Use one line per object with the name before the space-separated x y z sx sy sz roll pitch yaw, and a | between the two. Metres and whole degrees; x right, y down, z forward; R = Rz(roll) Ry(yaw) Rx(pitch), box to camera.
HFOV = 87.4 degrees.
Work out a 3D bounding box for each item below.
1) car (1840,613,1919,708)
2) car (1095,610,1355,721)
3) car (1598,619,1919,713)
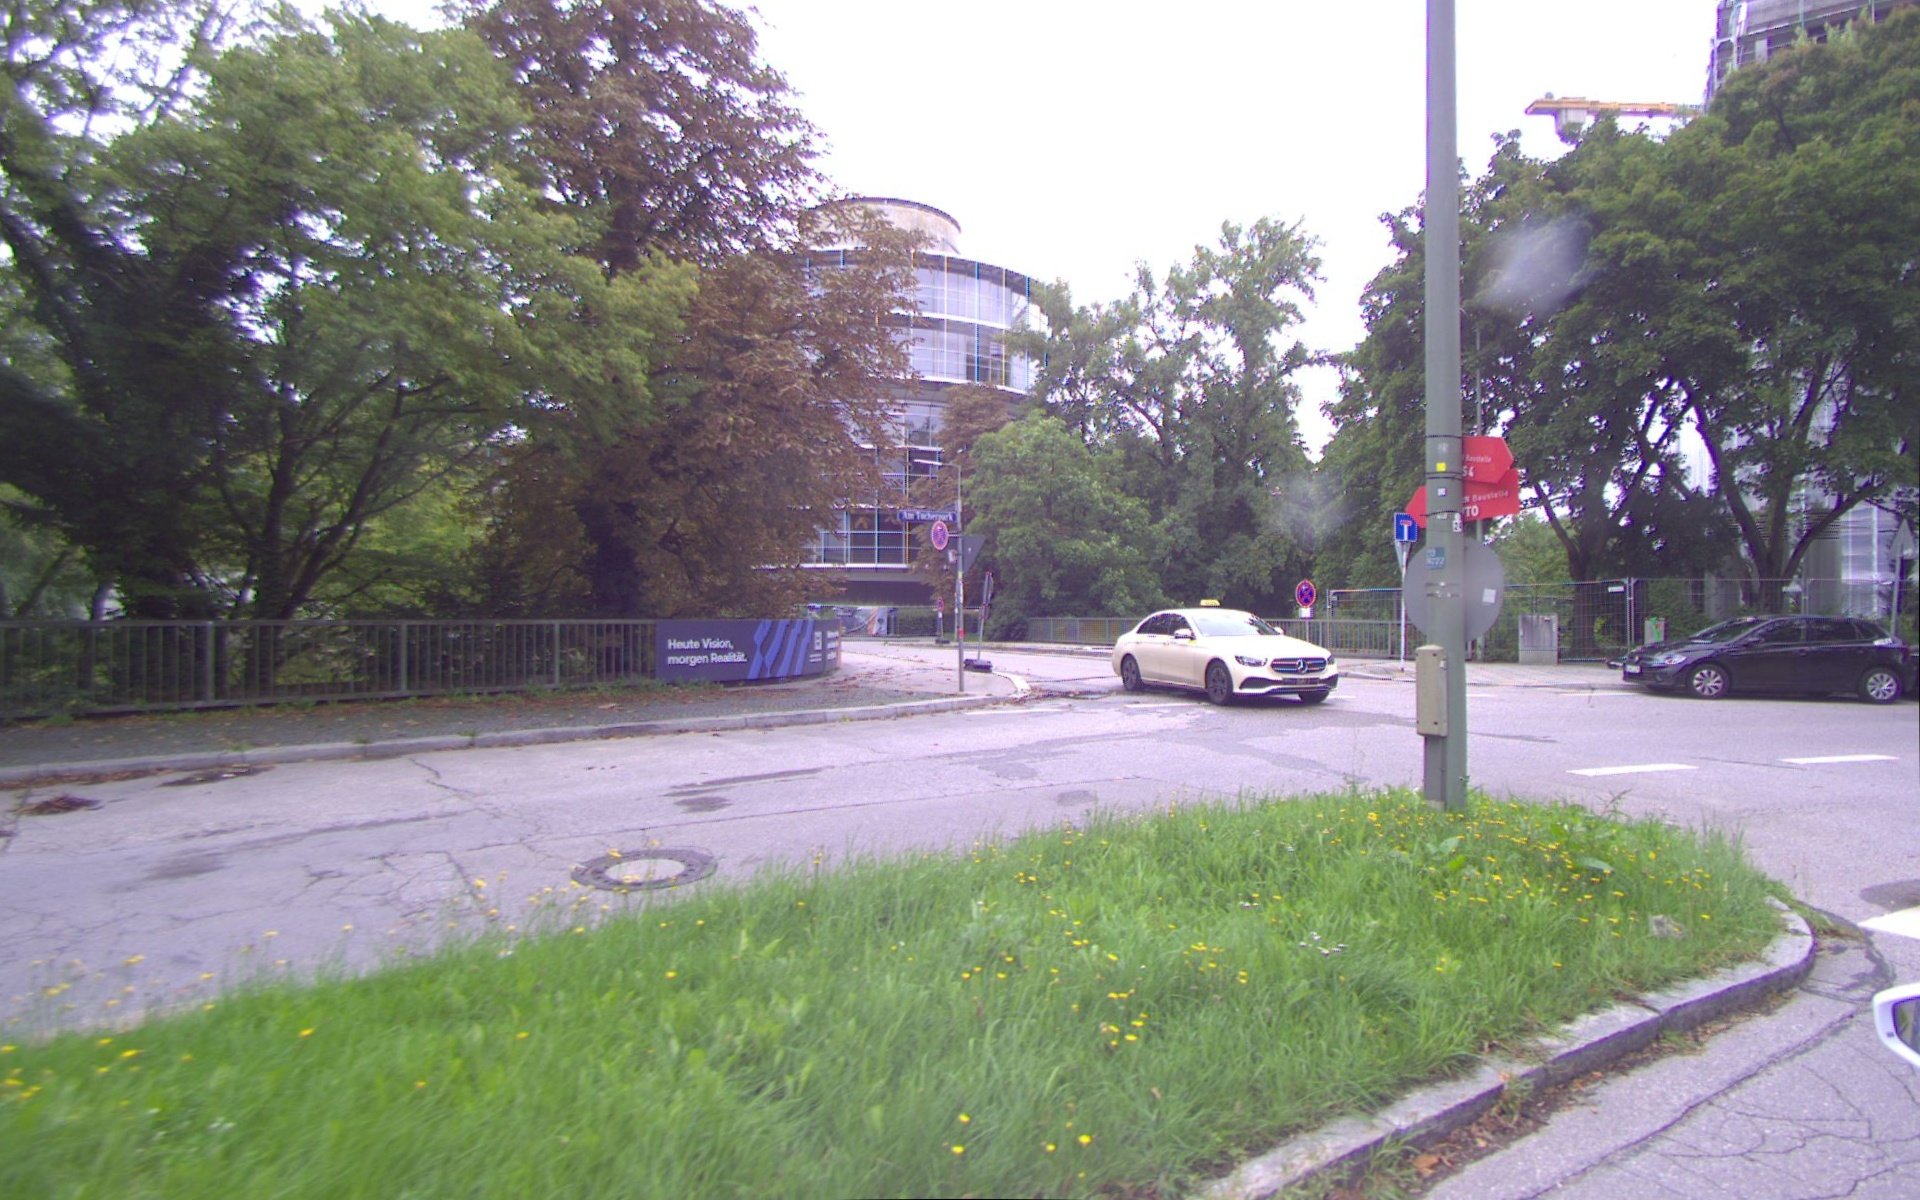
car | 17.889 1.022 17.085 3.919 1.561 2.001 0 -1 8
car | 4.162 0.964 16.746 1.864 1.566 4.834 1 -1 -18
car | 13.816 1.092 17.601 3.960 1.452 2.001 0 1 8
